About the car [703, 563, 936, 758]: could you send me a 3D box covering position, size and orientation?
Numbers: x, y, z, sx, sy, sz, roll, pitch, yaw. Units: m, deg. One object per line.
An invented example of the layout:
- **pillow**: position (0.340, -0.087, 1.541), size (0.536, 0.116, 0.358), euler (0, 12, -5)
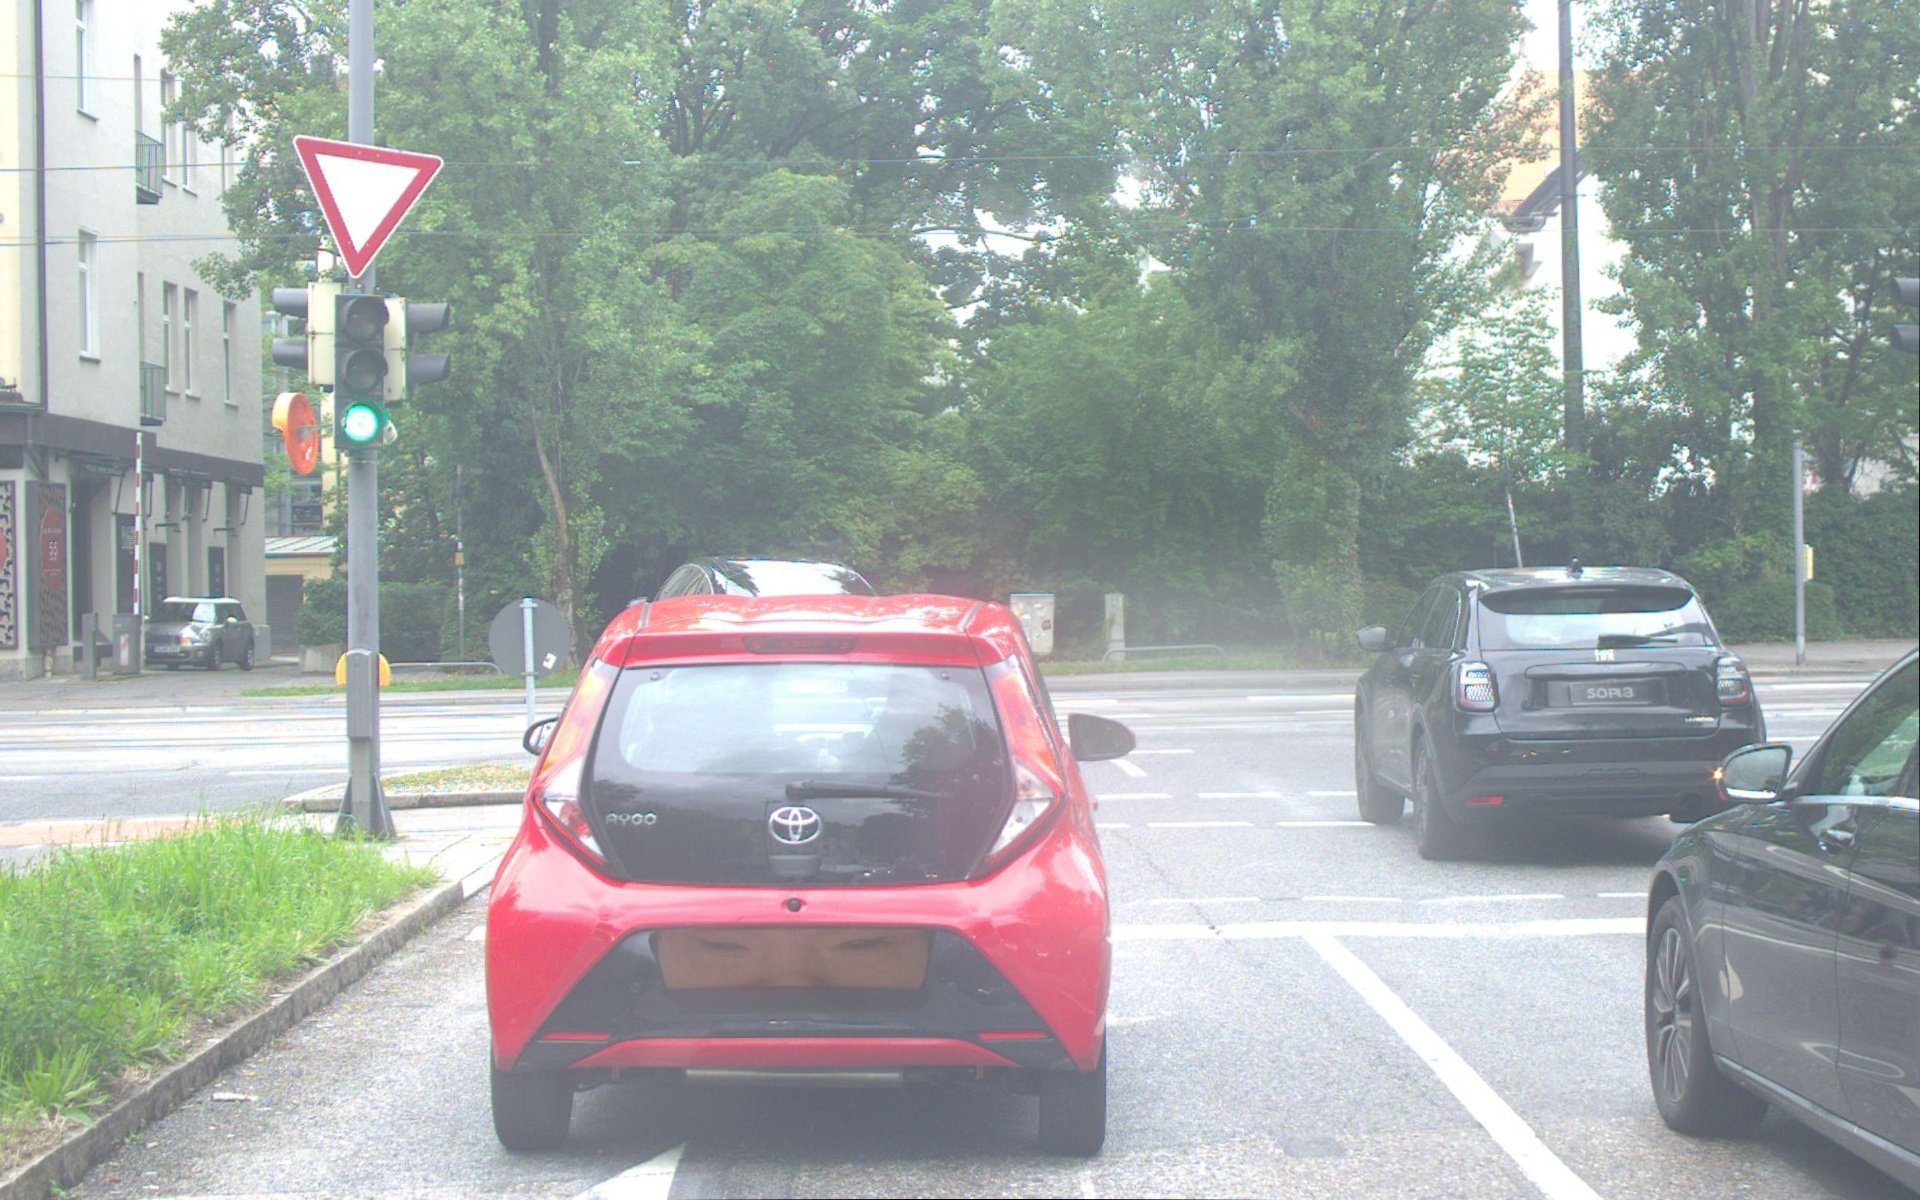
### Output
- **car**: position (-1.146, 0.465, 29.970), size (1.736, 1.544, 4.576), euler (-1, 1, 1)

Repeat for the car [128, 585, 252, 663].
- **car**: position (-14.983, 0.450, 67.039), size (1.725, 1.437, 4.001), euler (-1, 0, -4)

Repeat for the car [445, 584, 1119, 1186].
- **car**: position (-0.408, 0.691, 10.110), size (1.628, 1.435, 3.376), euler (-1, 0, 1)

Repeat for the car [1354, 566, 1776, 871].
- **car**: position (3.232, 0.588, 19.078), size (1.781, 1.481, 4.000), euler (-1, 0, 3)

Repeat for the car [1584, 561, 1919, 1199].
- **car**: position (2.770, 0.699, 7.734), size (1.863, 1.544, 4.703), euler (1, 0, 0)
